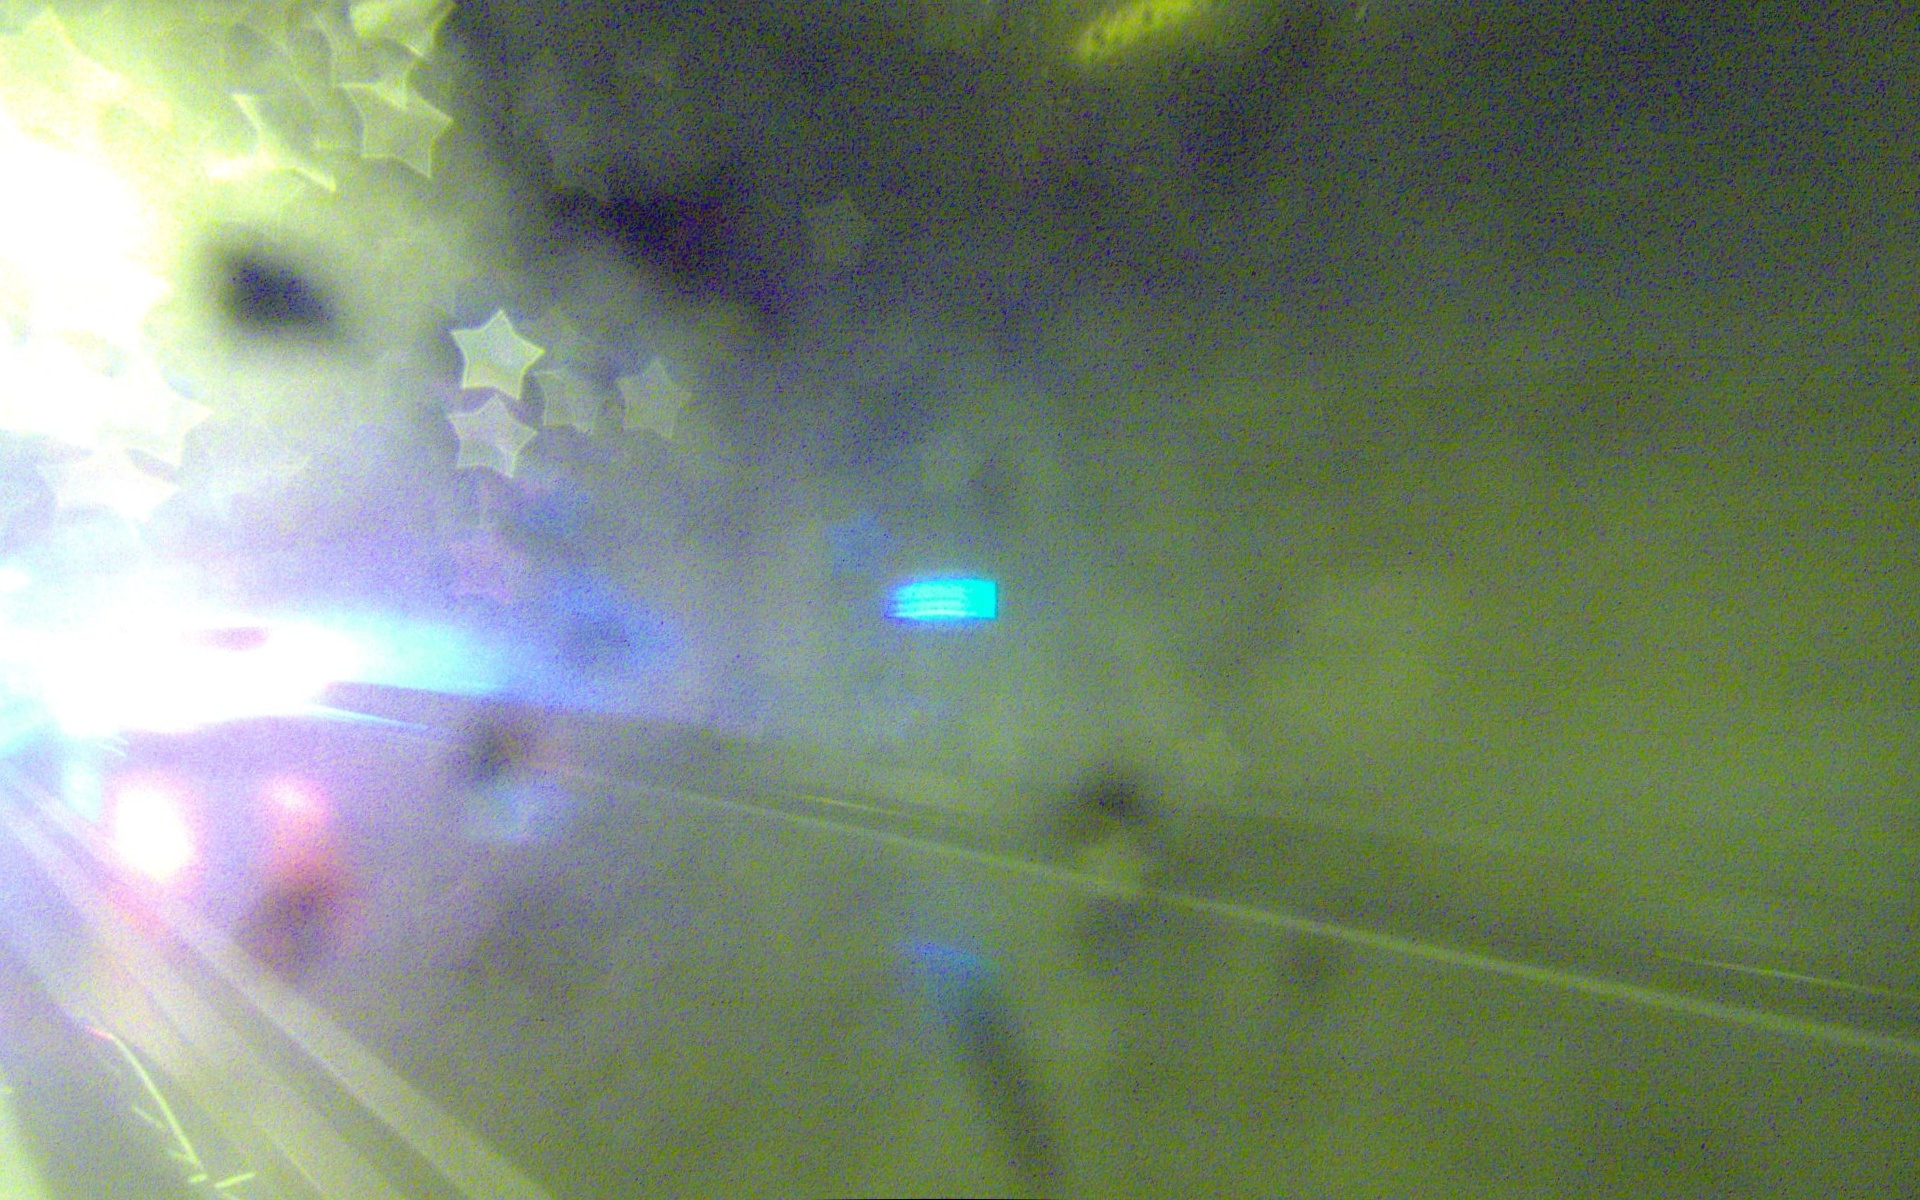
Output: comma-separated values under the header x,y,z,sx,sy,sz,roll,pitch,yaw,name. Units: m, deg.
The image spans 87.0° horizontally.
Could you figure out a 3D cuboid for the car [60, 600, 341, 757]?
x,y,z,sx,sy,sz,roll,pitch,yaw,name
-8.916,0.790,11.751,4.199,1.493,1.794,-1,-1,41,car
